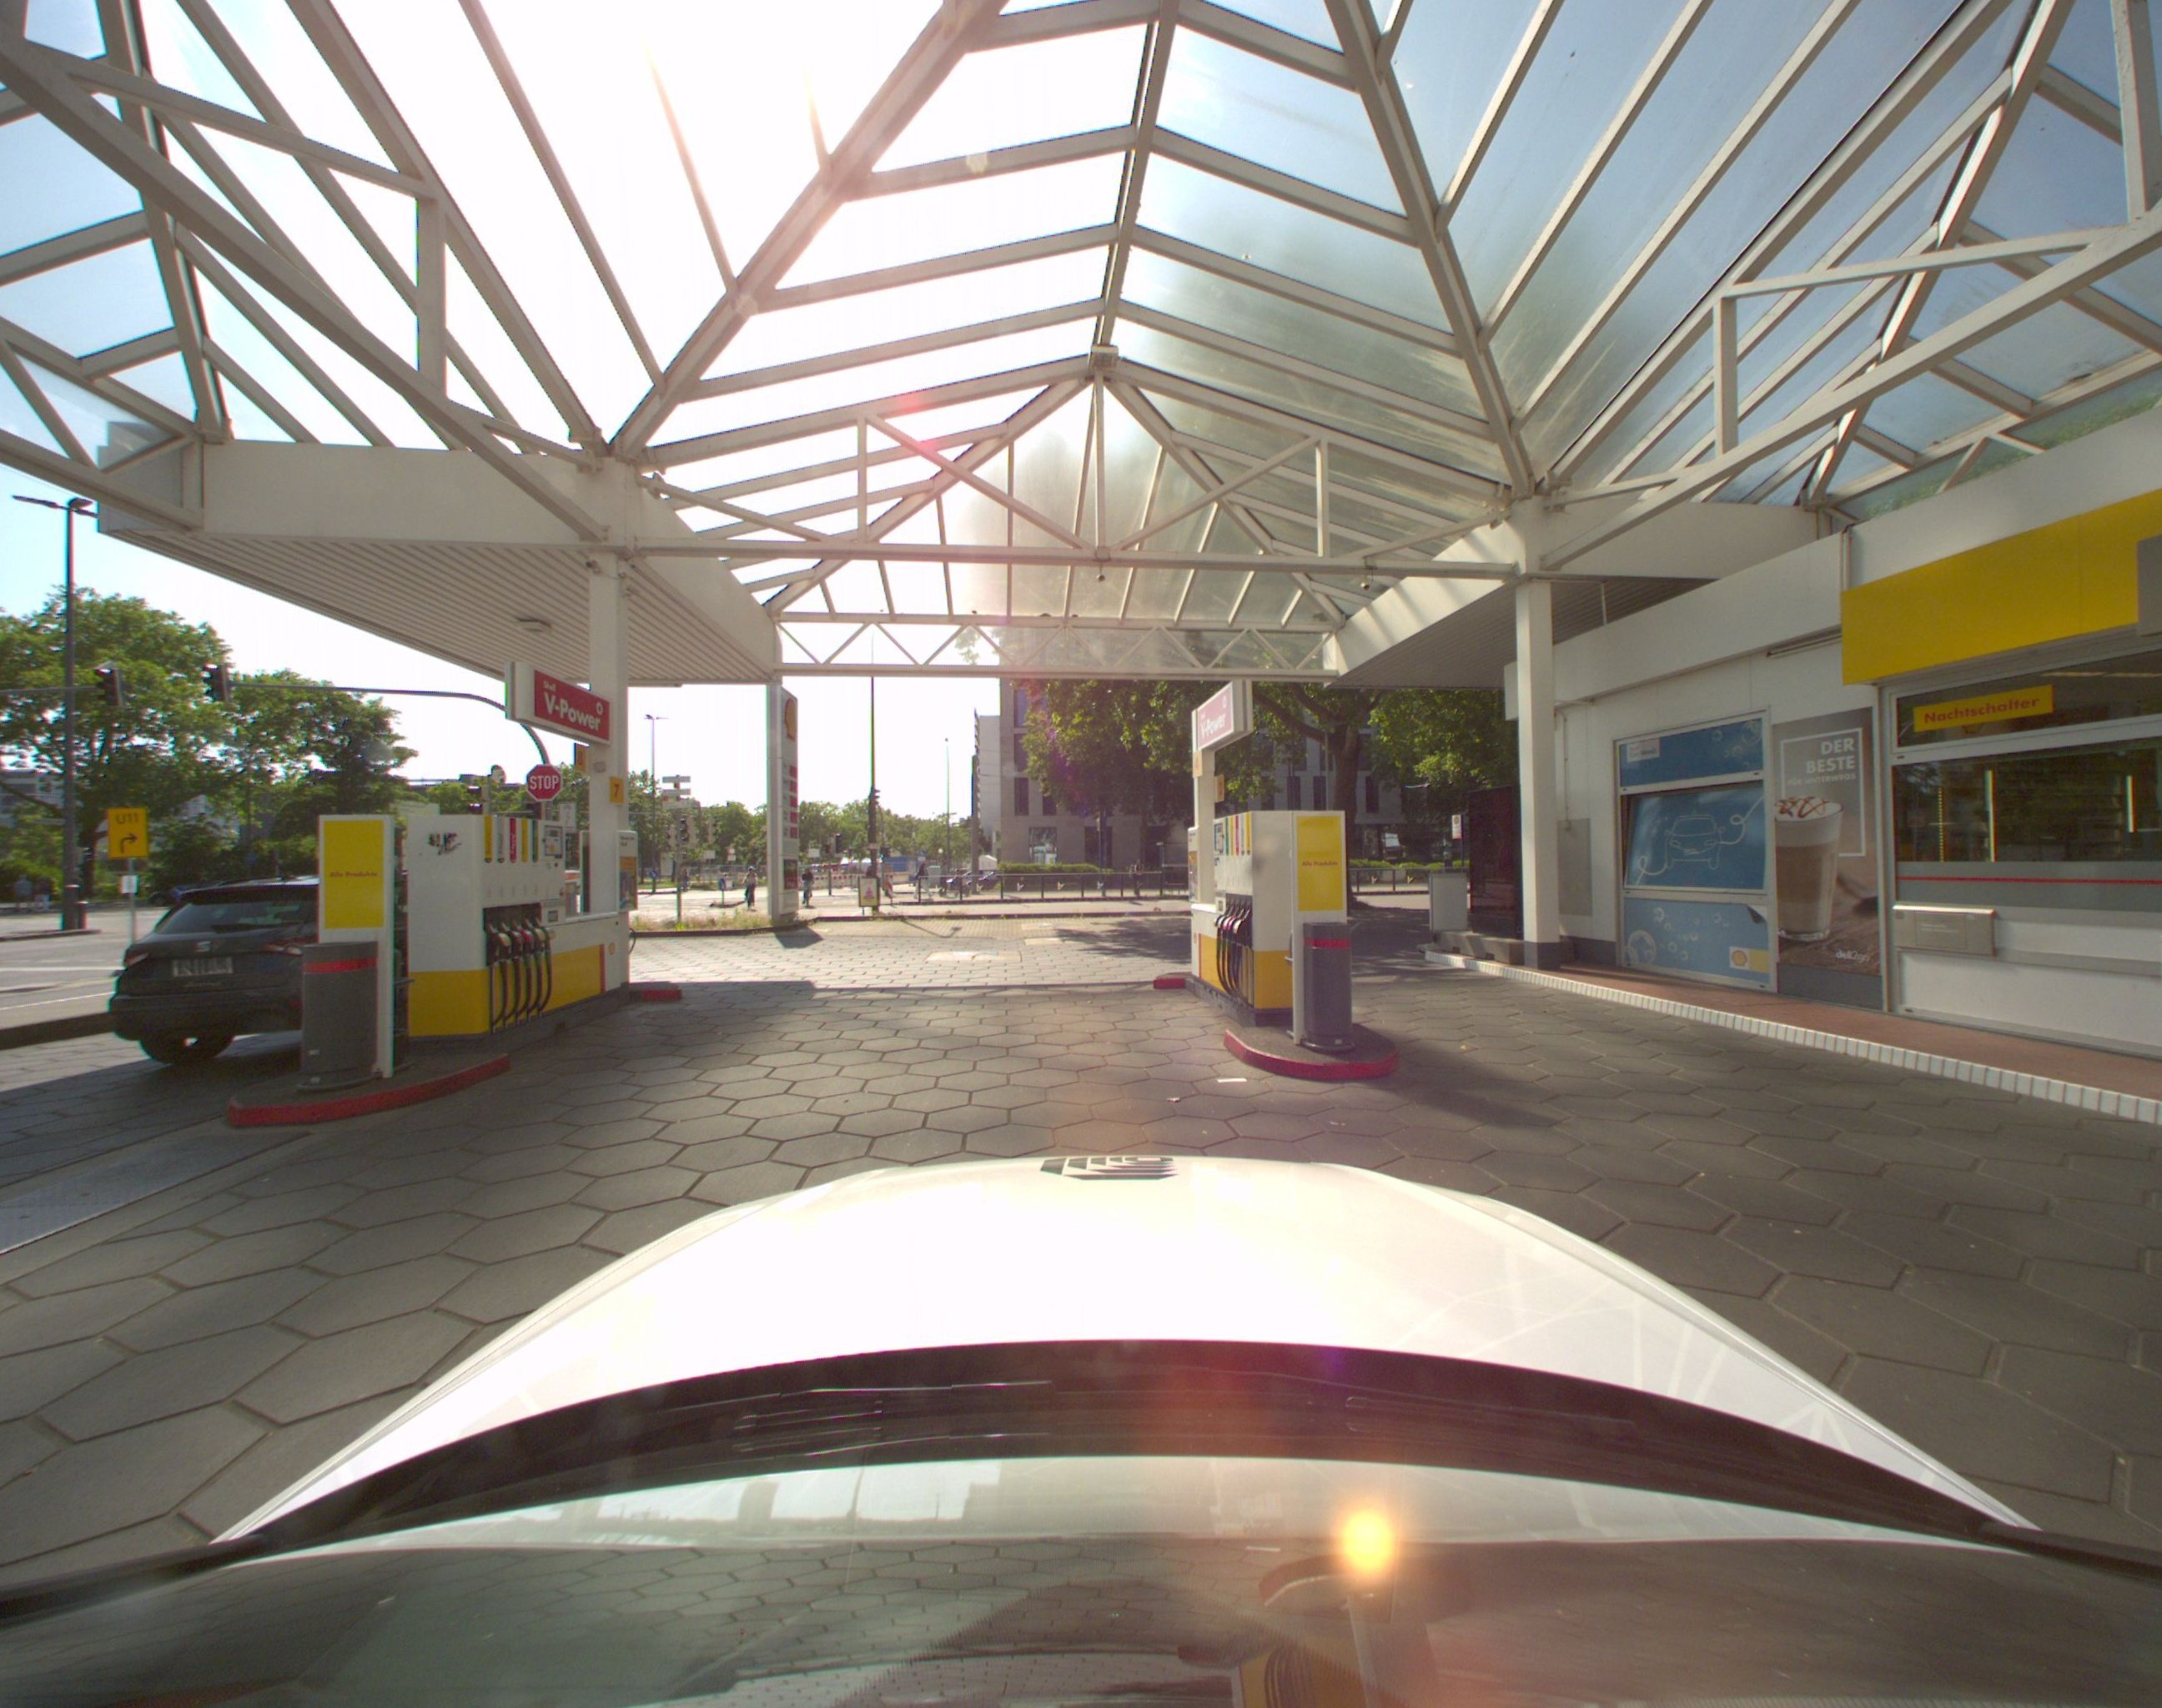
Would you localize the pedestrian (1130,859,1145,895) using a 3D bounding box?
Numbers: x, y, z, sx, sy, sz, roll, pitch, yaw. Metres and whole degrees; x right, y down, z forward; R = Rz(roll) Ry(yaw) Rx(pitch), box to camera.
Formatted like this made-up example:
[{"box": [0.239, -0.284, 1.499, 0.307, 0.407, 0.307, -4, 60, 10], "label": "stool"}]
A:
[{"box": [2.562, 1.033, 36.955, 0.583, 1.591, 0.669, -1, 1, -6], "label": "pedestrian"}]

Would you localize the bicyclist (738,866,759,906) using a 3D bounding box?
[{"box": [-13.743, 1.318, 33.701, 0.639, 1.580, 1.167, -1, 0, -14], "label": "bicyclist"}]

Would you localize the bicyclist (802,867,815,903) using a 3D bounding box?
[{"box": [-11.801, 1.334, 35.260, 0.535, 1.544, 0.860, 0, -2, -19], "label": "bicyclist"}]

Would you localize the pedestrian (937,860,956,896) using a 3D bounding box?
[{"box": [-6.226, 1.111, 37.735, 0.773, 1.683, 0.503, -1, -1, 3], "label": "pedestrian"}]

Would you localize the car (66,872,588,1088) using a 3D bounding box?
[{"box": [-6.867, 0.982, 8.133, 1.741, 1.532, 3.991, -2, -1, -6], "label": "car"}]

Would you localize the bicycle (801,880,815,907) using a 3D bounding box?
[{"box": [-11.773, 1.702, 35.175, 0.524, 1.082, 1.856, 0, 0, -18], "label": "bicycle"}]

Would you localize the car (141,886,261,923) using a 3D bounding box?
[{"box": [-50.693, 2.864, 47.024, 4.221, 1.805, 1.982, -2, -1, -27], "label": "car"}]

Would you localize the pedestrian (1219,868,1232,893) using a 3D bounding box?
[{"box": [6.656, 1.235, 37.550, 0.497, 1.138, 0.524, -1, -1, 1], "label": "pedestrian"}]

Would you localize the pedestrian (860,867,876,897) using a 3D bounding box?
[{"box": [-11.357, 1.484, 43.402, 0.647, 1.540, 0.503, -1, -1, 3], "label": "pedestrian"}]

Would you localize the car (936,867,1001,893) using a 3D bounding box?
[{"box": [-7.147, 1.635, 51.771, 3.989, 1.552, 1.696, -1, -1, -12], "label": "car"}]

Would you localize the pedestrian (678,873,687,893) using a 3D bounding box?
[{"box": [-29.868, 2.183, 61.020, 0.567, 1.469, 0.508, 0, -1, -30], "label": "pedestrian"}]

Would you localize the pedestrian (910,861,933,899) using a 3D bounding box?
[{"box": [-7.262, 1.177, 37.039, 0.928, 1.683, 0.503, -1, -1, 3], "label": "pedestrian"}]

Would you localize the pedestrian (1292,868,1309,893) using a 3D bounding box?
[{"box": [10.247, 1.252, 38.018, 0.626, 1.138, 0.524, -1, -1, 0], "label": "pedestrian"}]

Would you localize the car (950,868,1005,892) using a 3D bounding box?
[{"box": [-7.100, 1.737, 55.721, 3.684, 1.552, 1.586, -1, -1, -12], "label": "car"}]

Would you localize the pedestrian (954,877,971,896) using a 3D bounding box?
[{"box": [-5.484, 1.494, 37.686, 0.687, 0.880, 0.503, -1, -1, 3], "label": "pedestrian"}]

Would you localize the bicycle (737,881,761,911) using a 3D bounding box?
[{"box": [-13.745, 1.723, 33.736, 0.639, 1.082, 2.016, -1, 0, -15], "label": "bicycle"}]
